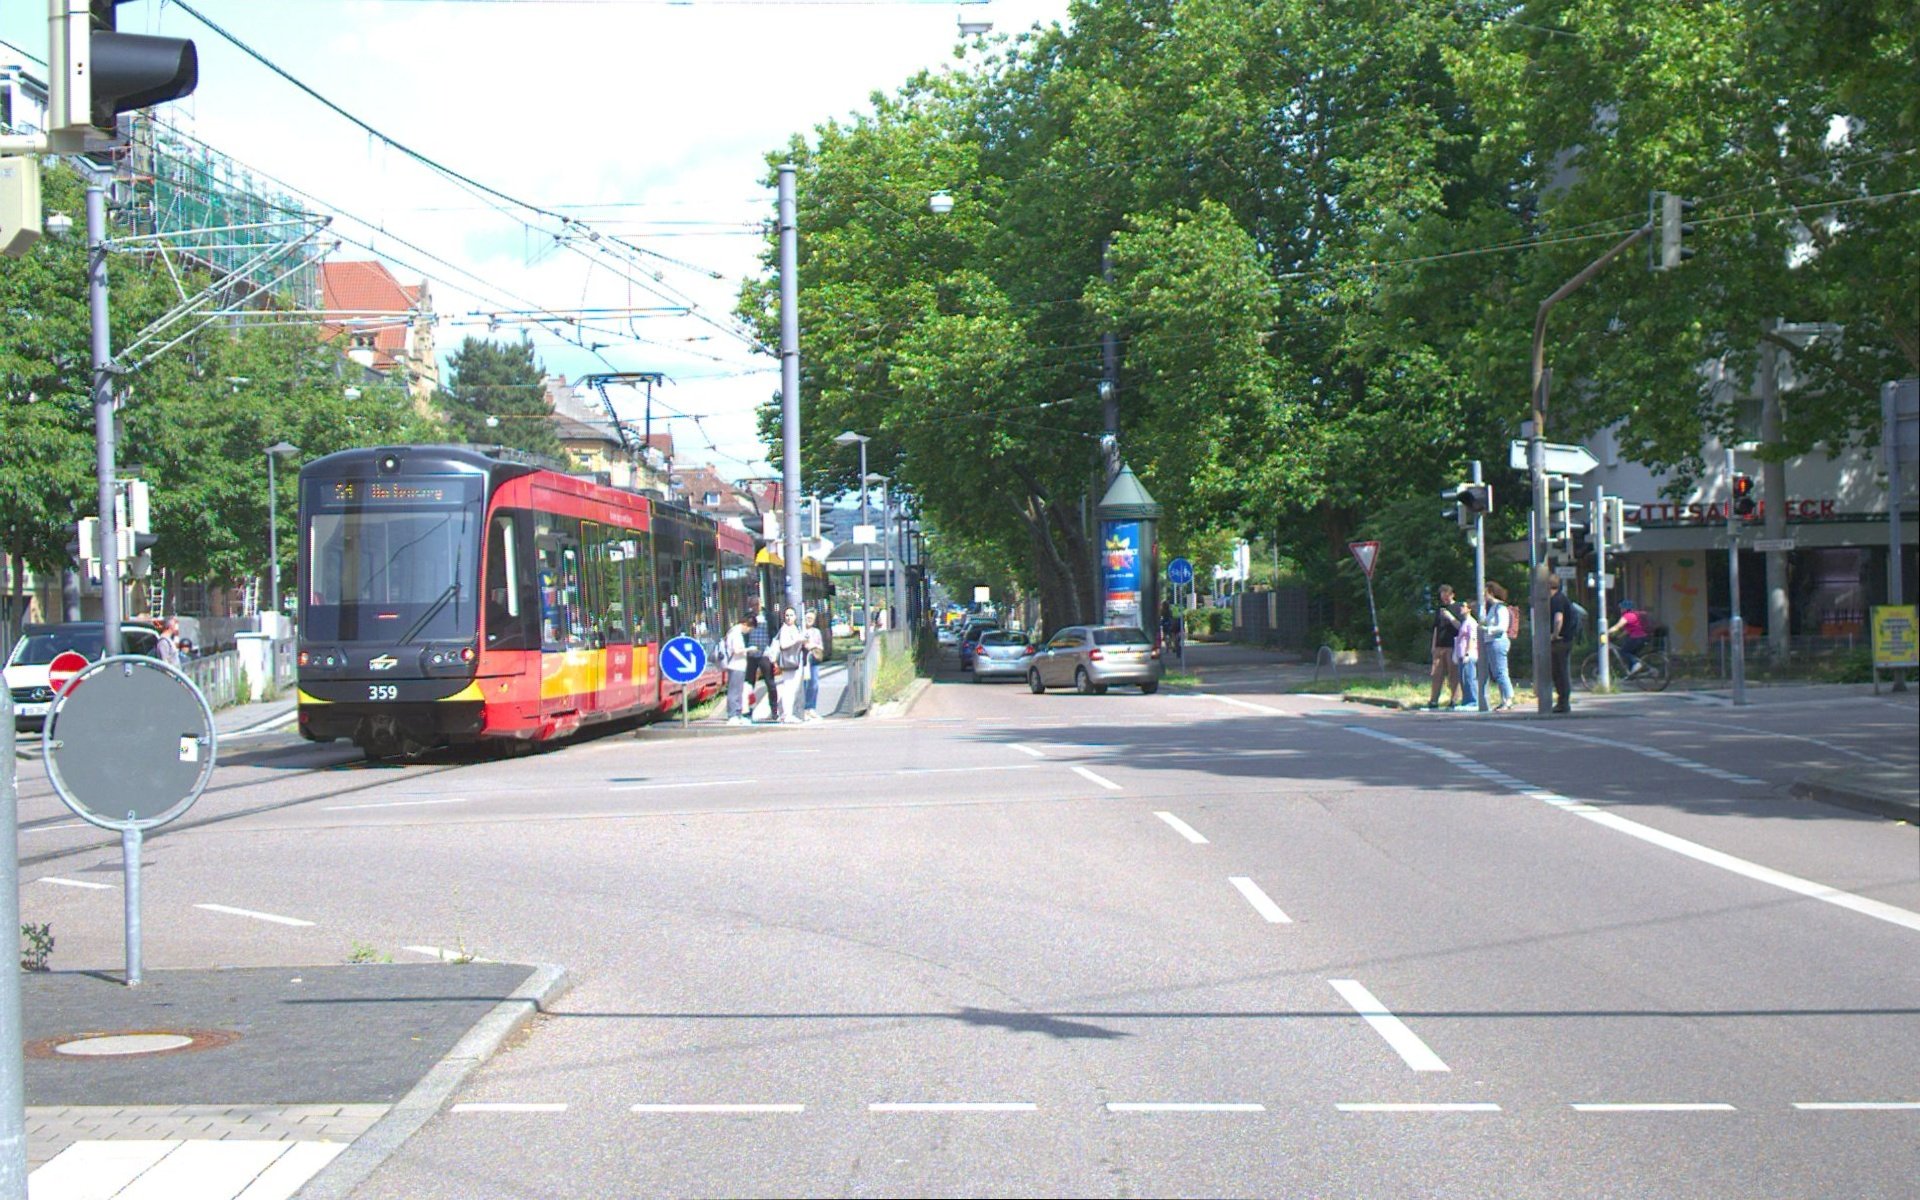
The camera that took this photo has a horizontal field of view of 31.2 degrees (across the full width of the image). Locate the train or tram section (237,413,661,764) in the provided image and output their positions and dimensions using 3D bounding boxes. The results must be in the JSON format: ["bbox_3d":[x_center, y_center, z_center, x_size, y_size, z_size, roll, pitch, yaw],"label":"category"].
[{"bbox_3d":[-5.782,-0.113,41.218,2.796,3.549,11.375,-2,0,3],"label":"train or tram section"}]

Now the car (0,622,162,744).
[{"bbox_3d":[-14.940,1.348,57.264,1.993,1.885,5.172,-1,0,1],"label":"car"}]

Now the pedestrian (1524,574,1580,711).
[{"bbox_3d":[7.948,0.565,46.152,0.481,1.819,0.555,-2,-1,43],"label":"pedestrian"}]

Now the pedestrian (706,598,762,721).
[{"bbox_3d":[-3.183,0.835,48.450,0.669,1.697,0.648,-2,0,3],"label":"pedestrian"}]

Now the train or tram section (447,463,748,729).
[{"bbox_3d":[-5.286,-0.048,52.433,2.806,3.549,11.180,-2,0,3],"label":"train or tram section"}]

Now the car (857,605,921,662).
[{"bbox_3d":[-2.333,1.089,114.009,1.815,1.798,4.000,-2,0,3],"label":"car"}]

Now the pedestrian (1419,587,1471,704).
[{"bbox_3d":[7.034,0.658,49.860,0.510,1.665,0.556,-1,0,-21],"label":"pedestrian"}]

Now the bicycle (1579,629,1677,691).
[{"bbox_3d":[12.195,1.091,62.800,1.679,1.085,0.481,1,0,28],"label":"bicycle"}]

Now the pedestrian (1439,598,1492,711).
[{"bbox_3d":[7.247,0.778,49.313,0.510,1.592,0.556,-1,0,-21],"label":"pedestrian"}]

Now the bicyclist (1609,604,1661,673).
[{"bbox_3d":[12.313,0.699,62.741,0.812,1.247,0.481,1,-1,28],"label":"bicyclist"}]

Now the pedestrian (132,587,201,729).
[{"bbox_3d":[-11.402,0.826,49.433,0.738,2.007,0.703,-1,0,6],"label":"pedestrian"}]

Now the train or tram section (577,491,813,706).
[{"bbox_3d":[-4.737,-0.019,64.113,2.806,3.549,12.155,-2,0,3],"label":"train or tram section"}]

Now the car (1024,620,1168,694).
[{"bbox_3d":[2.813,1.186,71.995,1.748,1.448,3.606,-1,0,-20],"label":"car"}]

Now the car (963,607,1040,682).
[{"bbox_3d":[1.113,1.197,94.249,1.993,2.007,4.000,0,0,-1],"label":"car"}]

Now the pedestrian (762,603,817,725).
[{"bbox_3d":[-2.397,0.901,48.483,0.669,1.697,0.648,-2,0,3],"label":"pedestrian"}]

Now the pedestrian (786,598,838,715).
[{"bbox_3d":[-2.172,0.823,50.546,0.669,1.697,0.648,-2,0,3],"label":"pedestrian"}]

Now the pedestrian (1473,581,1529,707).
[{"bbox_3d":[7.543,0.609,47.950,0.527,1.729,0.556,-1,0,-21],"label":"pedestrian"}]
